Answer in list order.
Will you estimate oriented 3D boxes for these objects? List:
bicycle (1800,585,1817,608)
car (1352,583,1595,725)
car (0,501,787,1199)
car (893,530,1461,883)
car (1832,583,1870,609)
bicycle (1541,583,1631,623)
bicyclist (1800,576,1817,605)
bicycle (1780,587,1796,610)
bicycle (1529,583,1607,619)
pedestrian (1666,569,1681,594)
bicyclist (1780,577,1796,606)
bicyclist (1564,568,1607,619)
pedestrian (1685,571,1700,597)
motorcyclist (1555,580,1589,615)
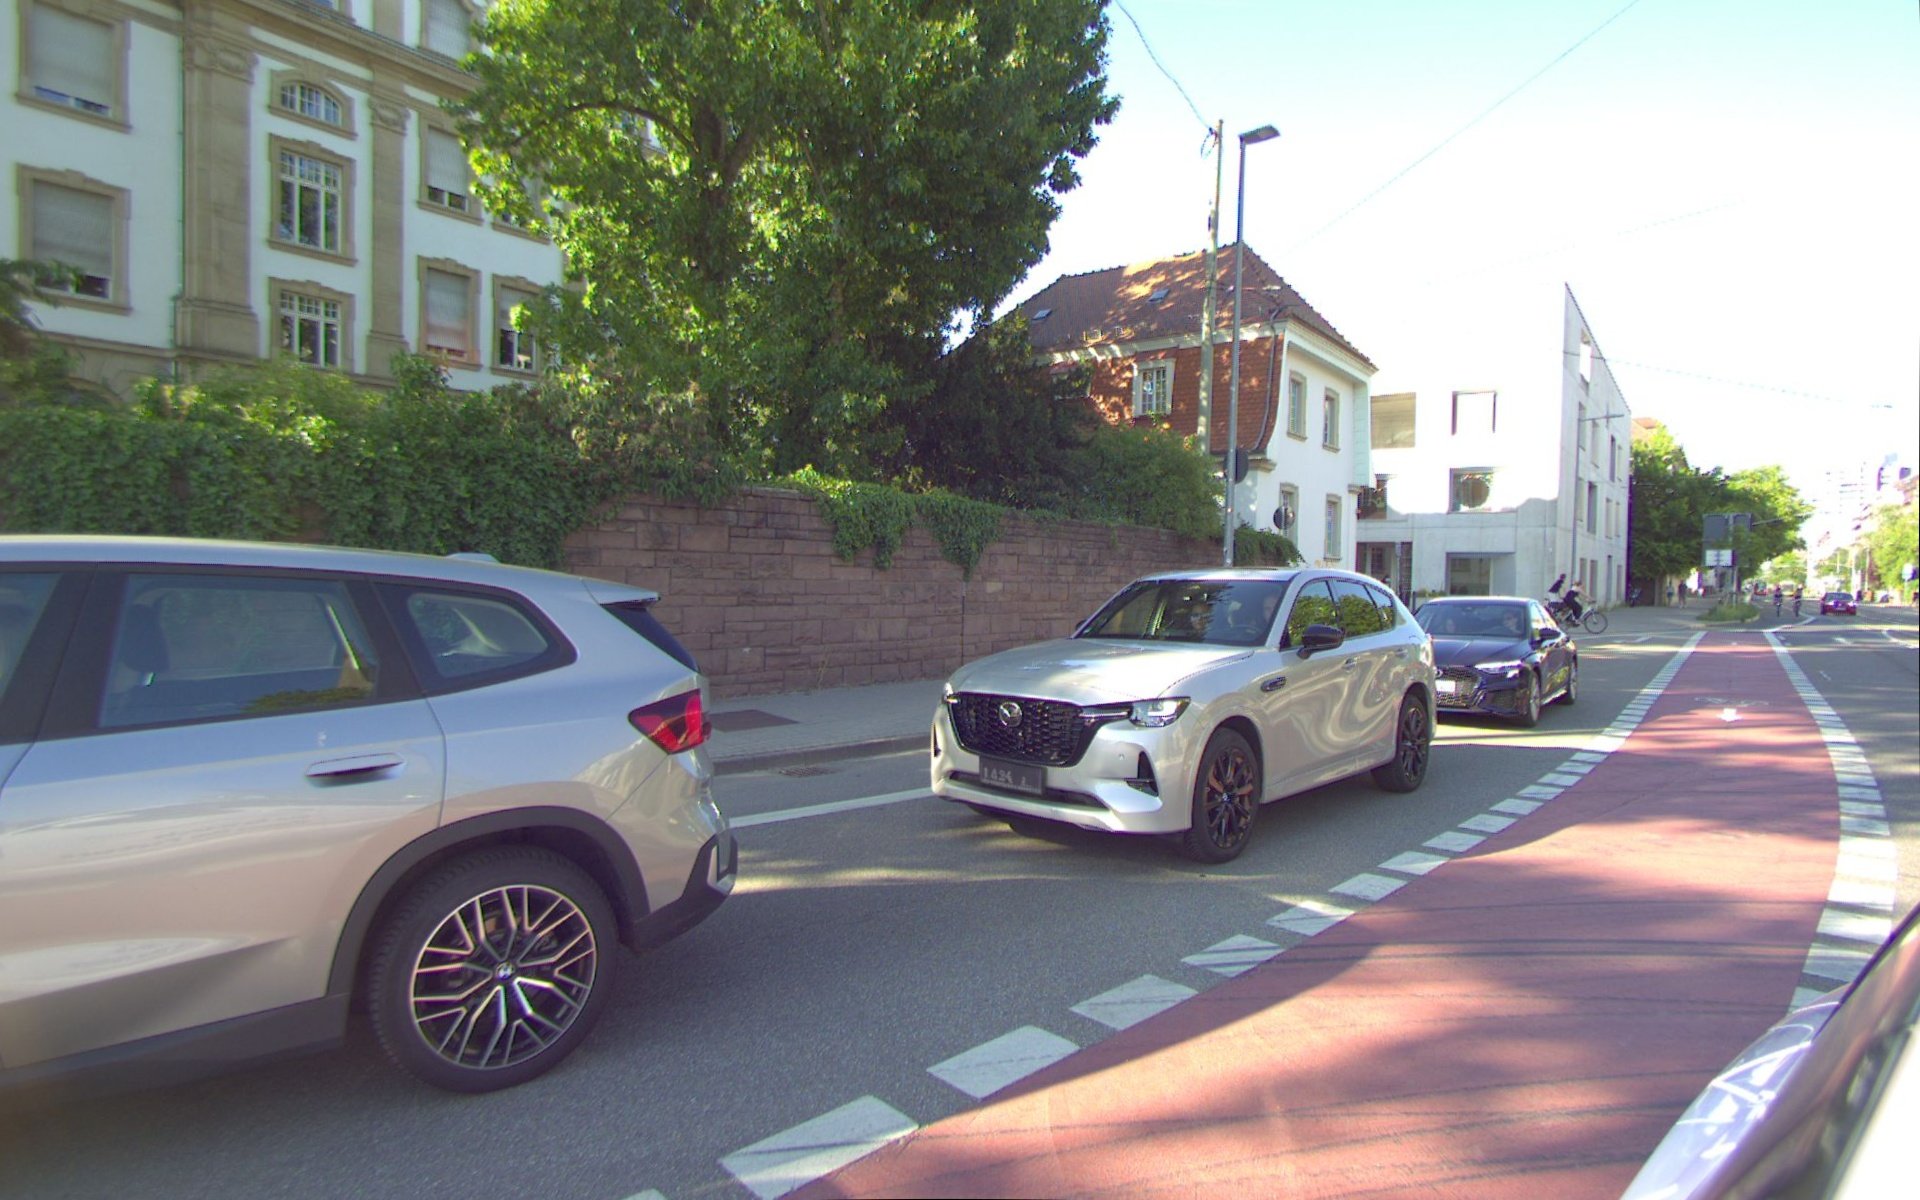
[{"bbox_3d":[48.744,-0.224,58.145,0.673,1.265,2.421,2,2,40],"label":"bicycle"},{"bbox_3d":[6.415,0.526,12.437,1.782,1.451,3.941,0,1,41],"label":"car"},{"bbox_3d":[-2.829,0.577,2.956,4.248,1.614,1.792,0,0,-36],"label":"car"},{"bbox_3d":[1.812,0.492,7.227,1.940,1.713,4.460,0,1,44],"label":"car"},{"bbox_3d":[56.231,-0.256,63.867,1.644,1.580,3.593,0,0,44],"label":"car"},{"bbox_3d":[20.965,0.092,33.956,2.421,1.266,0.673,2,2,15],"label":"bicycle"},{"bbox_3d":[48.725,-0.542,58.104,0.673,1.667,1.014,2,2,40],"label":"bicyclist"},{"bbox_3d":[48.287,-0.088,59.017,0.673,1.265,2.421,2,2,40],"label":"bicycle"},{"bbox_3d":[22.731,0.016,37.859,2.412,1.266,0.676,1,1,3],"label":"bicycle"},{"bbox_3d":[47.109,-1.210,66.818,0.673,1.668,0.806,1,1,40],"label":"pedestrian"},{"bbox_3d":[48.292,-0.492,58.999,0.673,1.667,1.014,2,2,40],"label":"bicyclist"},{"bbox_3d":[20.984,-0.241,33.947,1.014,1.667,0.673,2,1,15],"label":"bicyclist"},{"bbox_3d":[47.901,-1.035,66.177,0.673,1.668,0.806,1,1,40],"label":"pedestrian"},{"bbox_3d":[22.873,-0.105,37.849,0.838,1.266,0.676,1,1,3],"label":"motorcyclist"}]
